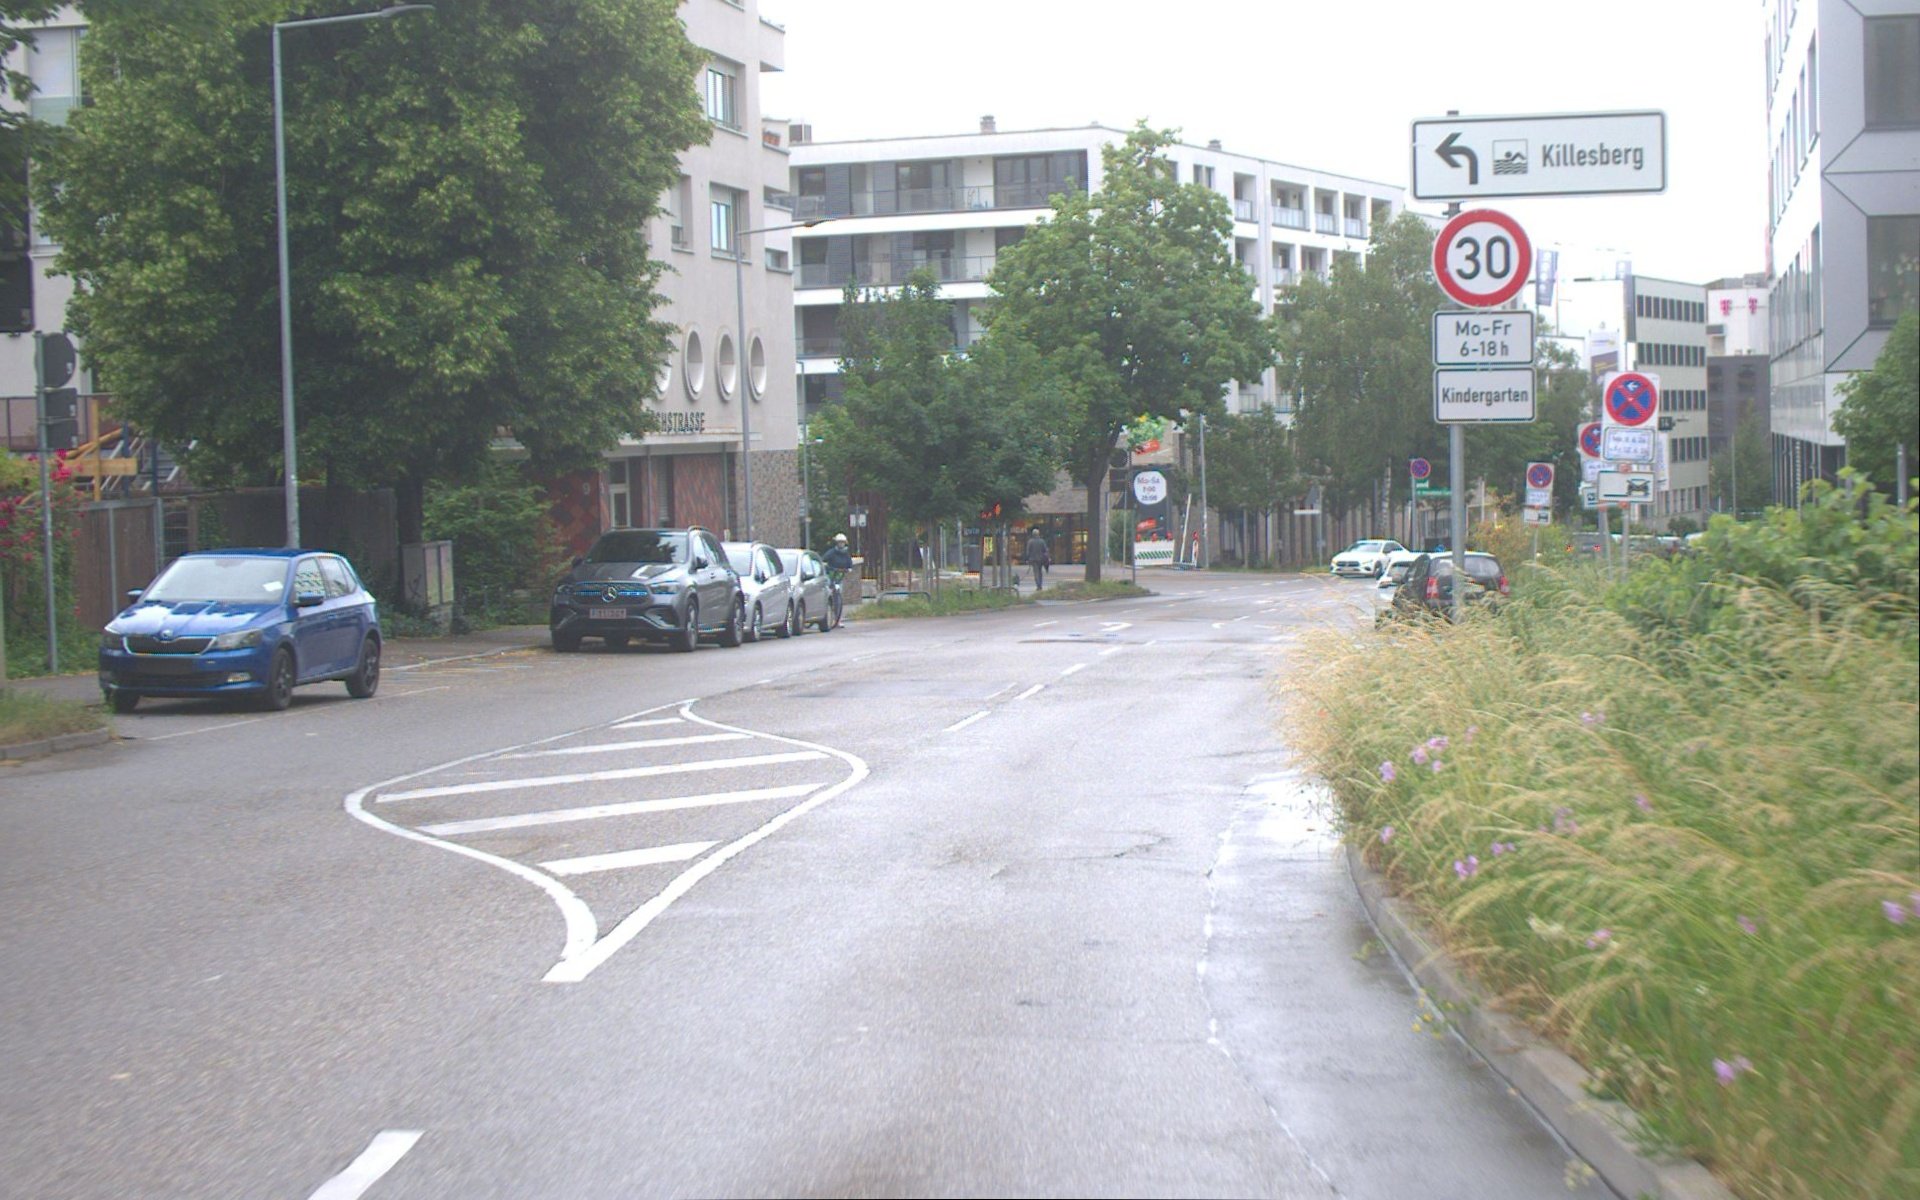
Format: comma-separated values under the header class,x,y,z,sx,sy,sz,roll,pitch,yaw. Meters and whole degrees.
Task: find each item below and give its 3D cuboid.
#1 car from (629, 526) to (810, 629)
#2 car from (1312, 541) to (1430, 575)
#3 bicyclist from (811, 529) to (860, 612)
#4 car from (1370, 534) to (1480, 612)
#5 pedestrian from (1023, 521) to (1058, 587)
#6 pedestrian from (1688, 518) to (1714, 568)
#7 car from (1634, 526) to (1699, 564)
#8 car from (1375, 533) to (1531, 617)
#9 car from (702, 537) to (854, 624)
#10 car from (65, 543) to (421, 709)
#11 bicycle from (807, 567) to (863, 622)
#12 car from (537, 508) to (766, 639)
class,x,y,z,sx,sy,sz,roll,pitch,yaw
car,-3.816,-0.372,55.386,1.990,1.587,4.488,0,1,8
car,15.760,-1.606,131.624,4.690,1.288,1.999,-1,1,-44
bicyclist,-2.282,-0.544,63.172,0.801,1.517,1.202,0,1,3
car,9.085,-0.547,66.905,2.040,1.459,4.501,0,1,9
pedestrian,2.481,-1.406,105.676,1.055,2.007,1.099,0,1,1
pedestrian,26.965,-2.072,125.106,0.823,1.790,1.207,-1,0,16
car,28.712,-2.230,139.702,1.809,1.479,4.490,0,1,22
car,8.827,-0.476,61.825,2.044,1.453,4.056,0,1,-3
car,-3.121,-0.352,59.801,1.880,1.458,3.846,0,1,9
car,-6.693,0.199,32.563,1.994,1.465,4.184,0,1,8
bicycle,-2.285,-0.107,63.230,0.802,0.975,2.254,0,1,4
car,-4.359,-0.392,49.535,1.994,1.780,5.408,0,1,9
